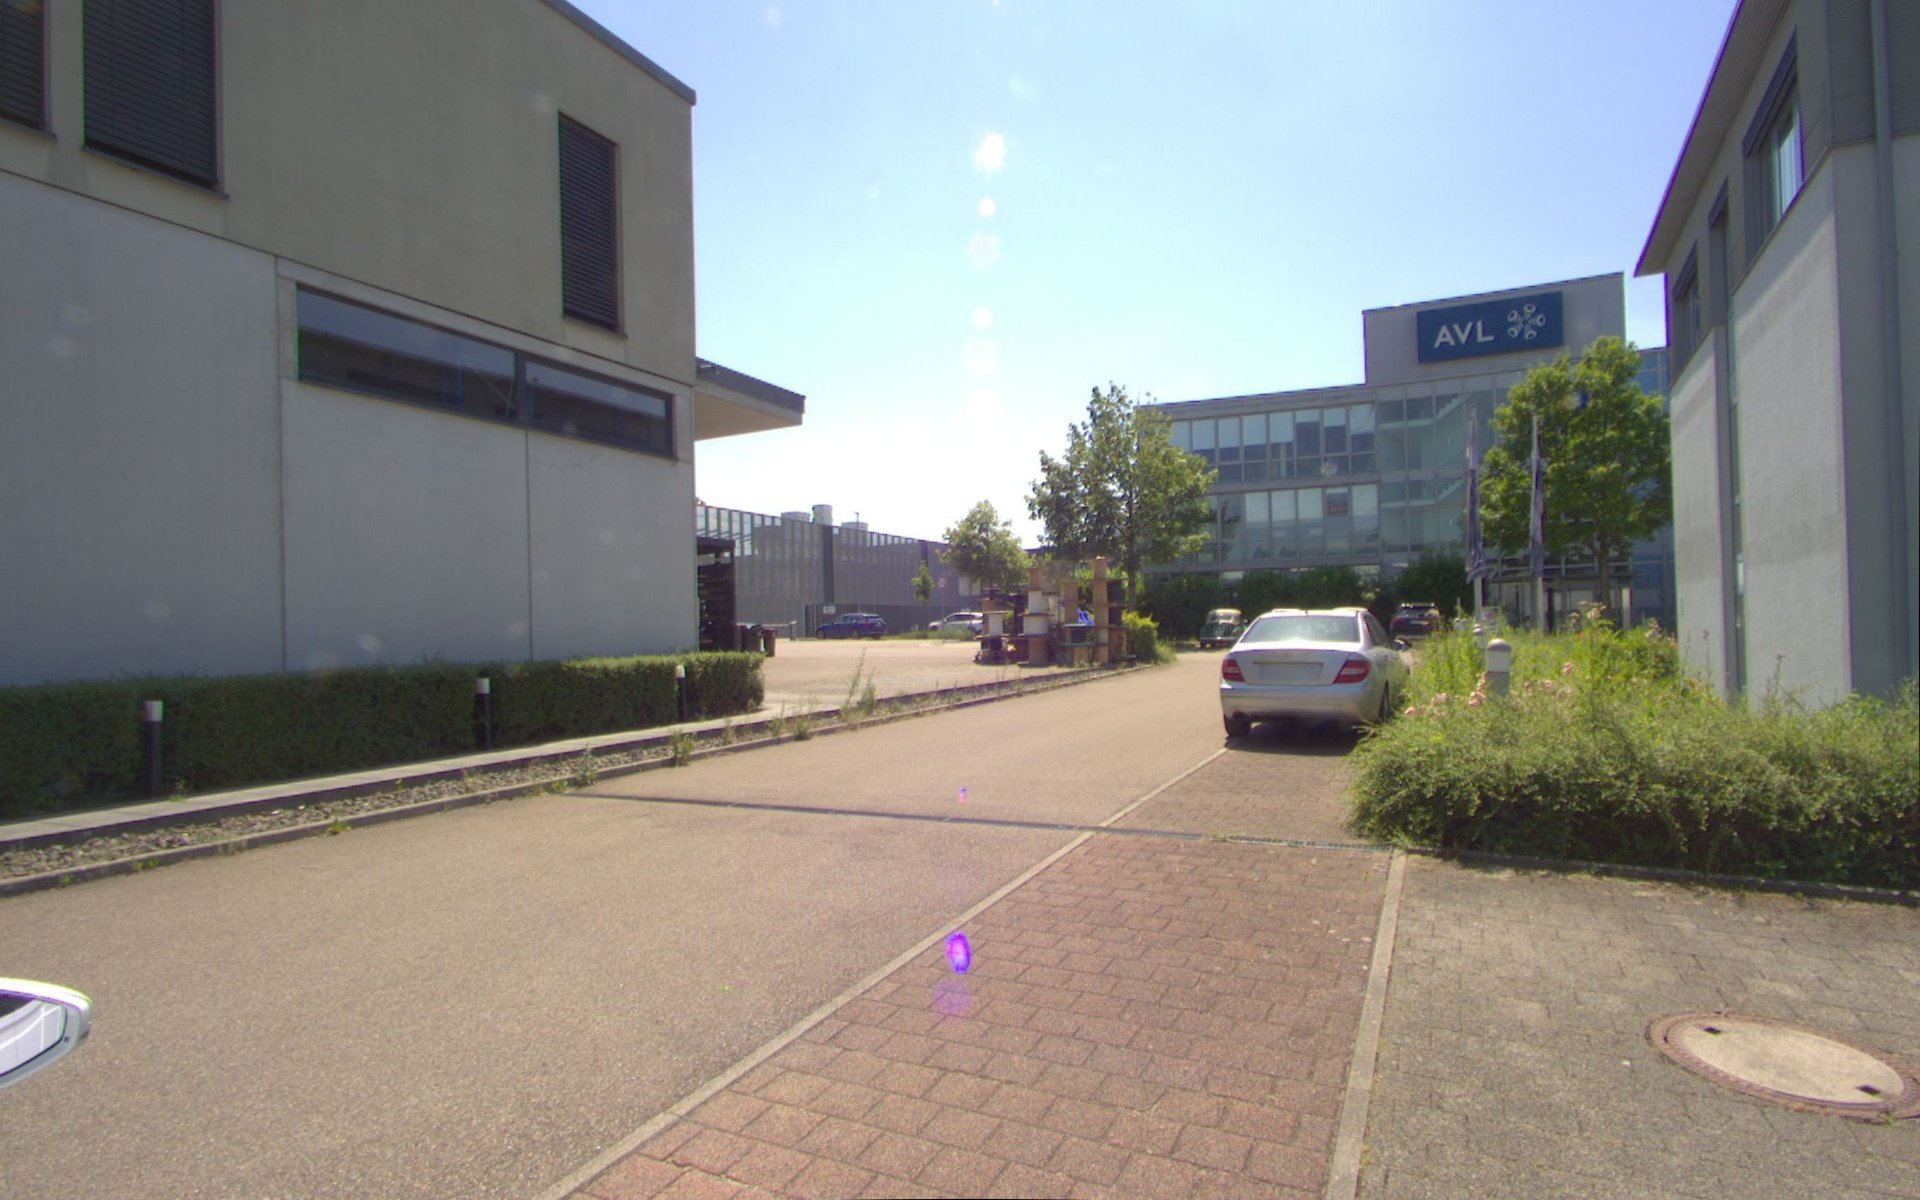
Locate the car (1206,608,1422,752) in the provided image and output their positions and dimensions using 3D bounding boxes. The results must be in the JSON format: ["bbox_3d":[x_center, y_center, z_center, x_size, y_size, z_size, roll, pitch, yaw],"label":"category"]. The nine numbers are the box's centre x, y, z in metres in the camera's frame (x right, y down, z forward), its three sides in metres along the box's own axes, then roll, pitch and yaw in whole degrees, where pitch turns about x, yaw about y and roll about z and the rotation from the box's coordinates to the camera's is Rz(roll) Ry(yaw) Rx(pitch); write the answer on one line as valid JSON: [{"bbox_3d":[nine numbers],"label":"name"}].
[{"bbox_3d":[4.491,0.845,12.251,1.778,1.416,4.401,-1,-1,29],"label":"car"}]

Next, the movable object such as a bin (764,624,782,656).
[{"bbox_3d":[-6.241,1.327,33.459,0.567,1.050,0.425,-1,0,-7],"label":"movable object such as a bin"}]

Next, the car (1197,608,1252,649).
[{"bbox_3d":[10.351,1.068,39.059,1.521,1.468,3.642,0,0,24],"label":"car"}]

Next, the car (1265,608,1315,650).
[{"bbox_3d":[12.592,1.056,38.116,1.707,1.468,3.645,0,0,20],"label":"car"}]

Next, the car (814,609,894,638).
[{"bbox_3d":[-6.028,1.301,56.521,4.462,1.511,1.984,-1,0,40],"label":"car"}]

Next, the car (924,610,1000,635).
[{"bbox_3d":[0.100,1.407,64.181,4.798,1.511,1.984,-1,0,40],"label":"car"}]

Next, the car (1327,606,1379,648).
[{"bbox_3d":[14.803,0.988,37.869,1.740,1.468,3.645,0,0,20],"label":"car"}]

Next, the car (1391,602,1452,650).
[{"bbox_3d":[16.754,0.896,36.394,1.901,1.632,3.973,0,0,24],"label":"car"}]

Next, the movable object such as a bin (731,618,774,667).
[{"bbox_3d":[-5.909,1.206,28.514,0.802,1.362,0.880,-1,-1,32],"label":"movable object such as a bin"}]

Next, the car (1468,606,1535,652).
[{"bbox_3d":[19.069,0.996,35.416,1.747,1.501,4.244,-1,0,24],"label":"car"}]
